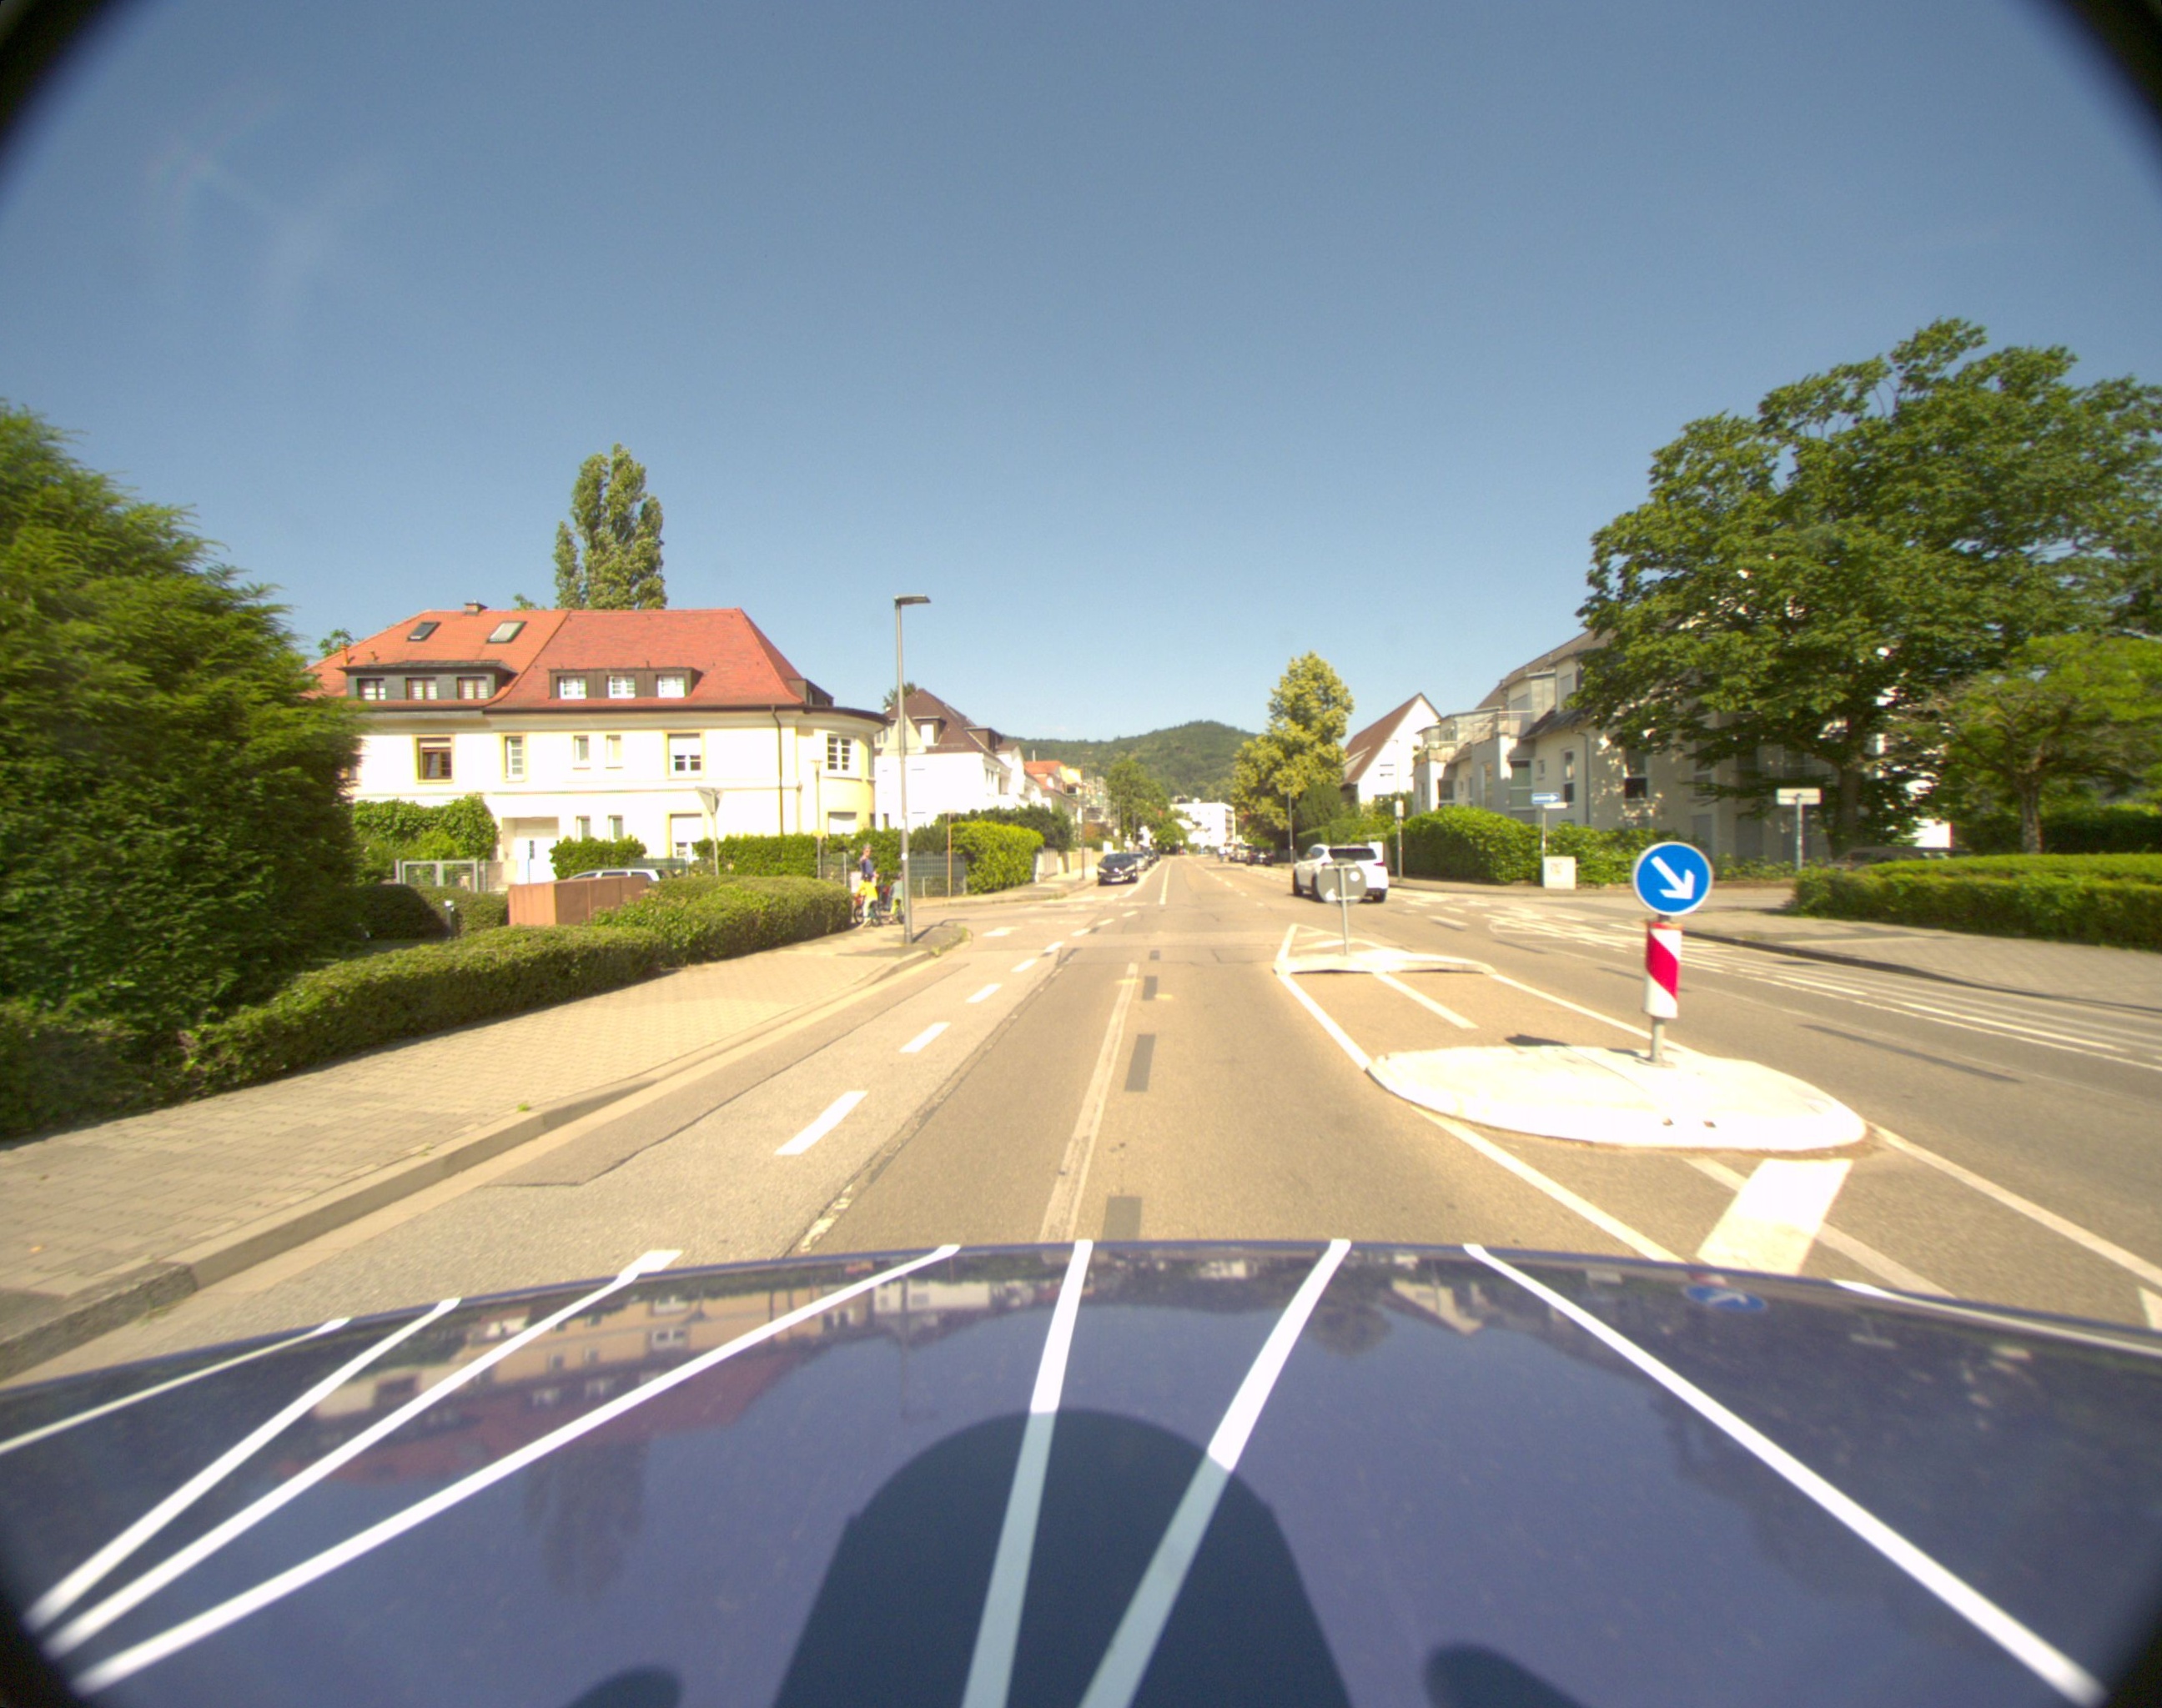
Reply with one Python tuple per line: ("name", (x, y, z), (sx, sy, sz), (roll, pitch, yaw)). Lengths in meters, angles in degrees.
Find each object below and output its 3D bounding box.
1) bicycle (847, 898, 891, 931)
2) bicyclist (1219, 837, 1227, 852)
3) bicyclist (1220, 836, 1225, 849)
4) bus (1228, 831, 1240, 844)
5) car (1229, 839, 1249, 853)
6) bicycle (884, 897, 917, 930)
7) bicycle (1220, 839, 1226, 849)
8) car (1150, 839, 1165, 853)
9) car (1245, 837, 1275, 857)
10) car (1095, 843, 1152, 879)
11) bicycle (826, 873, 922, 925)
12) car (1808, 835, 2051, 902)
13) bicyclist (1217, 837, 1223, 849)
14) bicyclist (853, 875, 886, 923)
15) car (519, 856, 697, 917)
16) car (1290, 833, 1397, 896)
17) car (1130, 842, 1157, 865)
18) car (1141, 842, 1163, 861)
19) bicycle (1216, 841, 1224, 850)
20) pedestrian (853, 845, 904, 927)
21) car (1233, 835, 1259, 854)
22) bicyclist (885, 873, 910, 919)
("bicycle", (-4.381, 1.236, 15.674), (0.403, 0.596, 1.148), (-2, 1, -41))
("bicyclist", (15.344, -1.015, 81.917), (0.677, 1.571, 0.859), (6, 3, 7))
("bicyclist", (16.151, -1.346, 86.510), (0.491, 1.446, 0.964), (1, 2, 7))
("bus", (37.888, -4.005, 188.305), (2.750, 3.156, 9.785), (1, 1, 11))
("car", (18.024, -0.890, 86.820), (1.837, 1.477, 4.564), (1, 1, 7))
("bicycle", (-3.902, 1.276, 16.403), (0.403, 0.596, 1.171), (-2, 1, -27))
("bicycle", (16.151, -1.155, 86.553), (0.602, 1.099, 1.347), (1, 2, 7))
("car", (9.642, -1.005, 96.114), (1.700, 1.574, 4.901), (-4, 1, 4))
("car", (14.917, -0.627, 63.500), (1.854, 1.602, 4.449), (0, 1, 6))
("car", (2.035, 0.265, 35.372), (1.739, 1.460, 4.349), (-2, 1, 15))
("bicycle", (-5.229, 1.092, 19.038), (2.704, 1.152, 0.865), (0, 2, 39))
("car", (19.538, 0.308, 17.641), (3.499, 1.404, 1.727), (-1, 1, 6))
("bicyclist", (18.029, -1.428, 98.441), (0.750, 1.658, 1.022), (-1, 1, 7))
("bicyclist", (-4.331, 0.917, 15.569), (0.400, 0.928, 0.607), (-3, 2, -41))
("car", (-13.730, 0.905, 22.249), (3.998, 1.559, 1.810), (-2, 1, -2))
("car", (7.470, 0.218, 22.107), (1.919, 1.657, 4.506), (0, 1, 5))
("car", (4.475, -0.068, 54.023), (1.740, 1.321, 4.077), (-4, 2, 7))
("car", (6.198, -0.256, 66.505), (1.726, 1.441, 4.169), (-4, 1, 5))
("bicycle", (18.059, -1.141, 98.672), (0.784, 1.159, 2.421), (1, 2, 7))
("pedestrian", (-4.852, 0.727, 18.193), (0.903, 1.862, 1.186), (-2, 2, -26))
("car", (16.569, -0.999, 76.598), (1.889, 1.909, 4.869), (0, 1, 5))
("bicyclist", (-3.966, 0.902, 16.440), (0.402, 0.924, 0.657), (-1, 2, -6))
